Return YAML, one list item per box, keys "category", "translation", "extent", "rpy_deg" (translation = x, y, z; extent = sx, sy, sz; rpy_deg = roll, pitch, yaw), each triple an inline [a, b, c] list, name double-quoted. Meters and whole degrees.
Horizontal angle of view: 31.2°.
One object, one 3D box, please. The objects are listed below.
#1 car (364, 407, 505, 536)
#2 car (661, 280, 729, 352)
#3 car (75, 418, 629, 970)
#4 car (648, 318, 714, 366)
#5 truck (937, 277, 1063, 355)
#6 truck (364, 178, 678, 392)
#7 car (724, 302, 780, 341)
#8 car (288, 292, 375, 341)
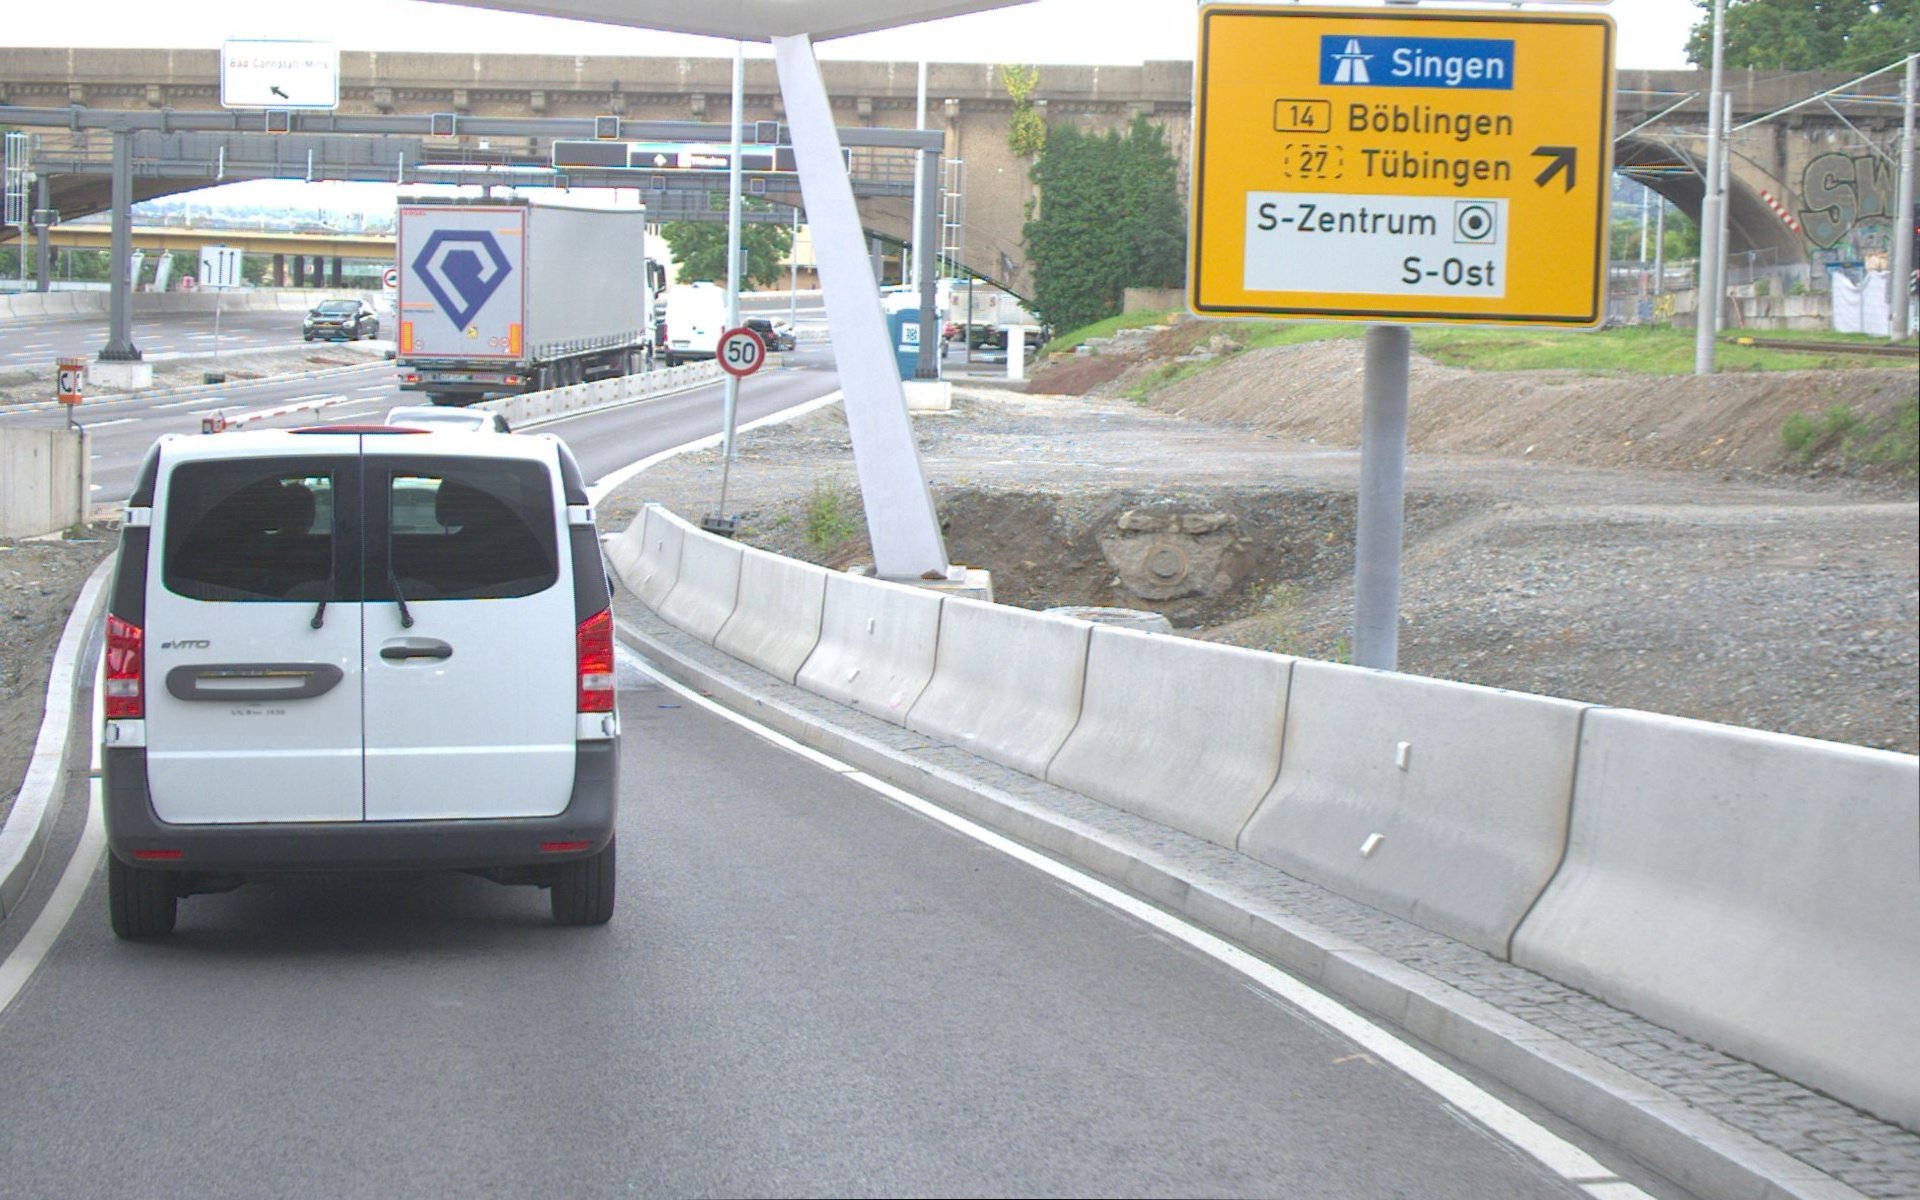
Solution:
- category: "car"
  translation: [-6.459, -1.618, 42.487]
  extent: [1.500, 1.464, 3.400]
  rpy_deg: [2, 3, -6]
- category: "car"
  translation: [-8.588, -9.207, 111.713]
  extent: [1.898, 2.108, 4.486]
  rpy_deg: [3, 3, -2]
- category: "car"
  translation: [-2.466, 0.277, 14.220]
  extent: [1.876, 1.884, 4.754]
  rpy_deg: [0, 1, -9]
- category: "car"
  translation: [-10.267, -9.481, 126.694]
  extent: [1.646, 1.614, 4.000]
  rpy_deg: [3, 4, 5]
- category: "truck"
  translation: [2.043, -13.988, 169.999]
  extent: [3.399, 3.138, 7.247]
  rpy_deg: [6, 3, 24]
- category: "truck"
  translation: [-8.892, -6.662, 72.516]
  extent: [3.317, 3.795, 16.597]
  rpy_deg: [4, 6, 3]
- category: "car"
  translation: [-8.939, -11.985, 148.197]
  extent: [1.530, 1.503, 3.999]
  rpy_deg: [4, 3, 9]
- category: "car"
  translation: [-21.089, -9.493, 115.447]
  extent: [1.820, 1.448, 4.000]
  rpy_deg: [3, 3, 5]
